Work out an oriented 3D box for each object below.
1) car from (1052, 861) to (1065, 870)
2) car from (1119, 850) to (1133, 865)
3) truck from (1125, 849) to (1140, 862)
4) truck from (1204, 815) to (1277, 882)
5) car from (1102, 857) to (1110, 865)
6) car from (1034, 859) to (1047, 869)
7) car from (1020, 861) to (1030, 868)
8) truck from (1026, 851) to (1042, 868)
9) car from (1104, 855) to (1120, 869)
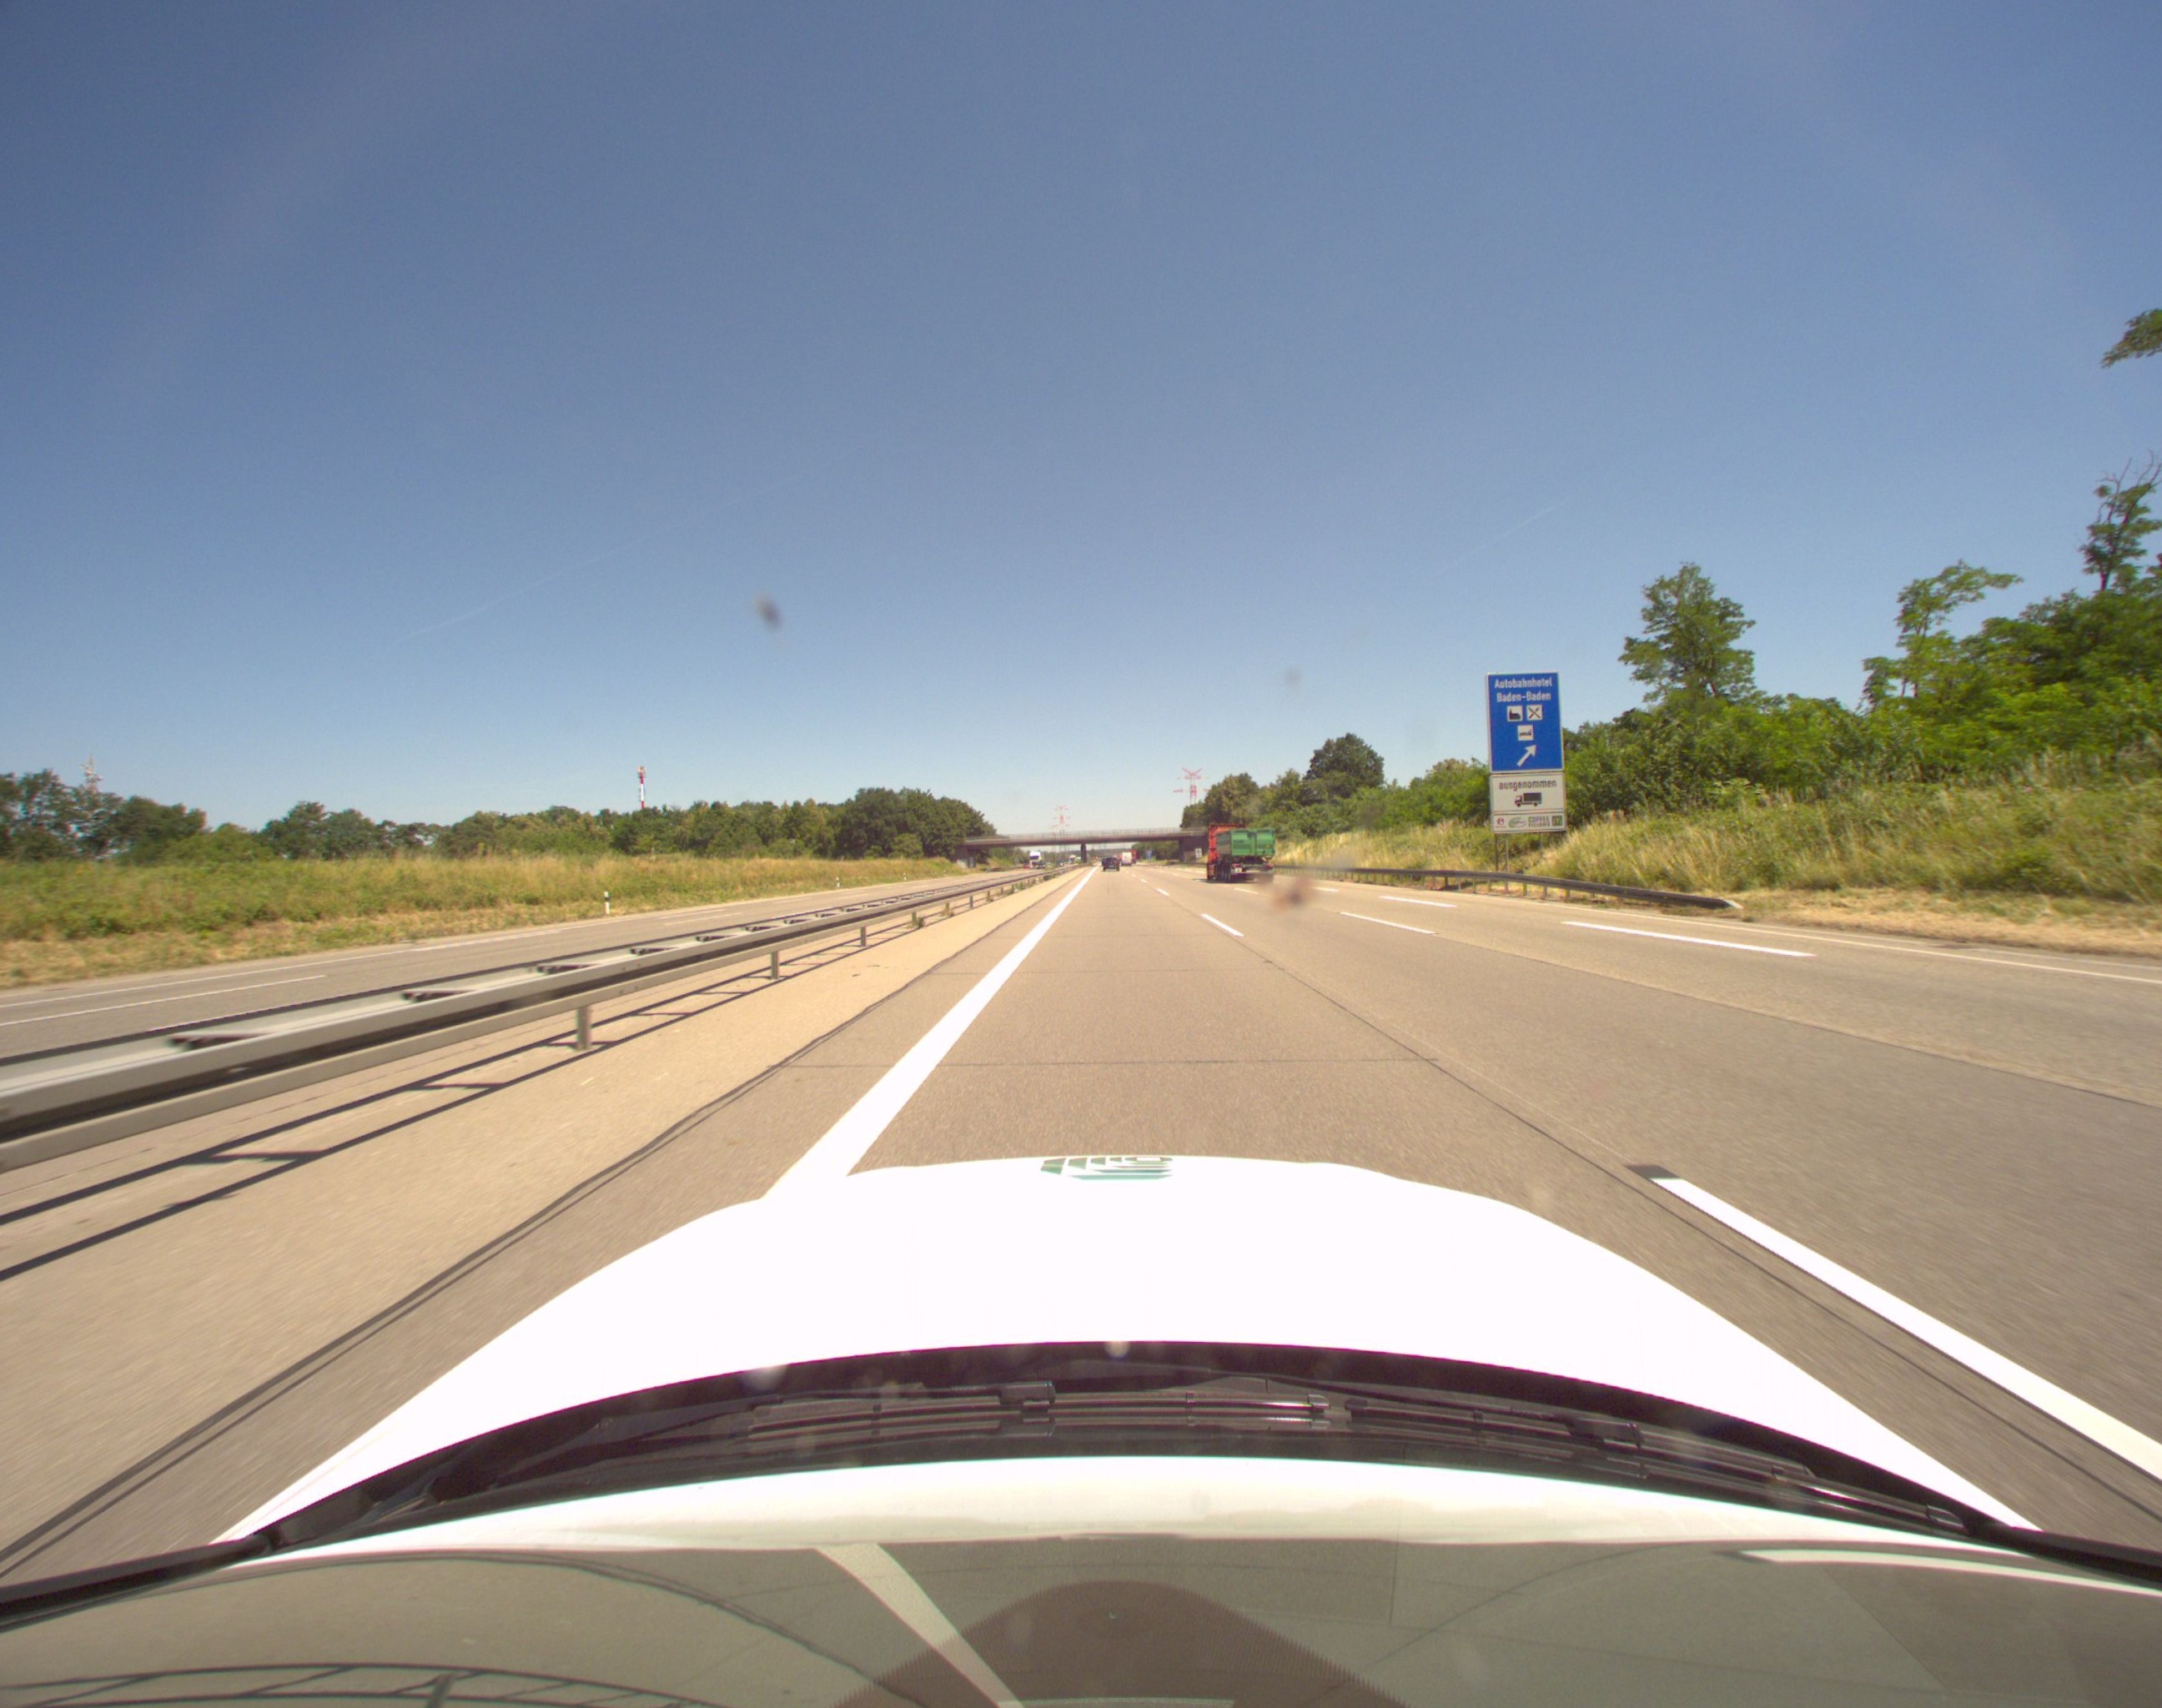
[{"bbox_3d":[-4.374,2.218,158.426,2.220,1.424,5.301,-4,0,1],"label":"car"},{"bbox_3d":[9.053,0.697,163.094,2.611,2.759,6.099,0,0,2],"label":"car"},{"bbox_3d":[15.840,0.519,253.400,4.315,3.941,16.086,0,0,2],"label":"truck"},{"bbox_3d":[9.972,-0.278,52.341,2.671,3.798,12.483,0,0,2],"label":"truck"},{"bbox_3d":[5.690,1.522,186.376,1.787,1.750,4.001,0,0,1],"label":"car"},{"bbox_3d":[-8.167,1.965,165.617,2.220,1.812,5.301,-4,0,1],"label":"car"},{"bbox_3d":[-14.977,2.753,217.506,2.220,1.611,4.789,-4,0,1],"label":"car"},{"bbox_3d":[-11.546,1.404,201.183,2.938,3.960,6.955,-4,0,2],"label":"truck"},{"bbox_3d":[3.748,0.968,98.791,1.986,1.750,4.001,0,0,1],"label":"car"}]
